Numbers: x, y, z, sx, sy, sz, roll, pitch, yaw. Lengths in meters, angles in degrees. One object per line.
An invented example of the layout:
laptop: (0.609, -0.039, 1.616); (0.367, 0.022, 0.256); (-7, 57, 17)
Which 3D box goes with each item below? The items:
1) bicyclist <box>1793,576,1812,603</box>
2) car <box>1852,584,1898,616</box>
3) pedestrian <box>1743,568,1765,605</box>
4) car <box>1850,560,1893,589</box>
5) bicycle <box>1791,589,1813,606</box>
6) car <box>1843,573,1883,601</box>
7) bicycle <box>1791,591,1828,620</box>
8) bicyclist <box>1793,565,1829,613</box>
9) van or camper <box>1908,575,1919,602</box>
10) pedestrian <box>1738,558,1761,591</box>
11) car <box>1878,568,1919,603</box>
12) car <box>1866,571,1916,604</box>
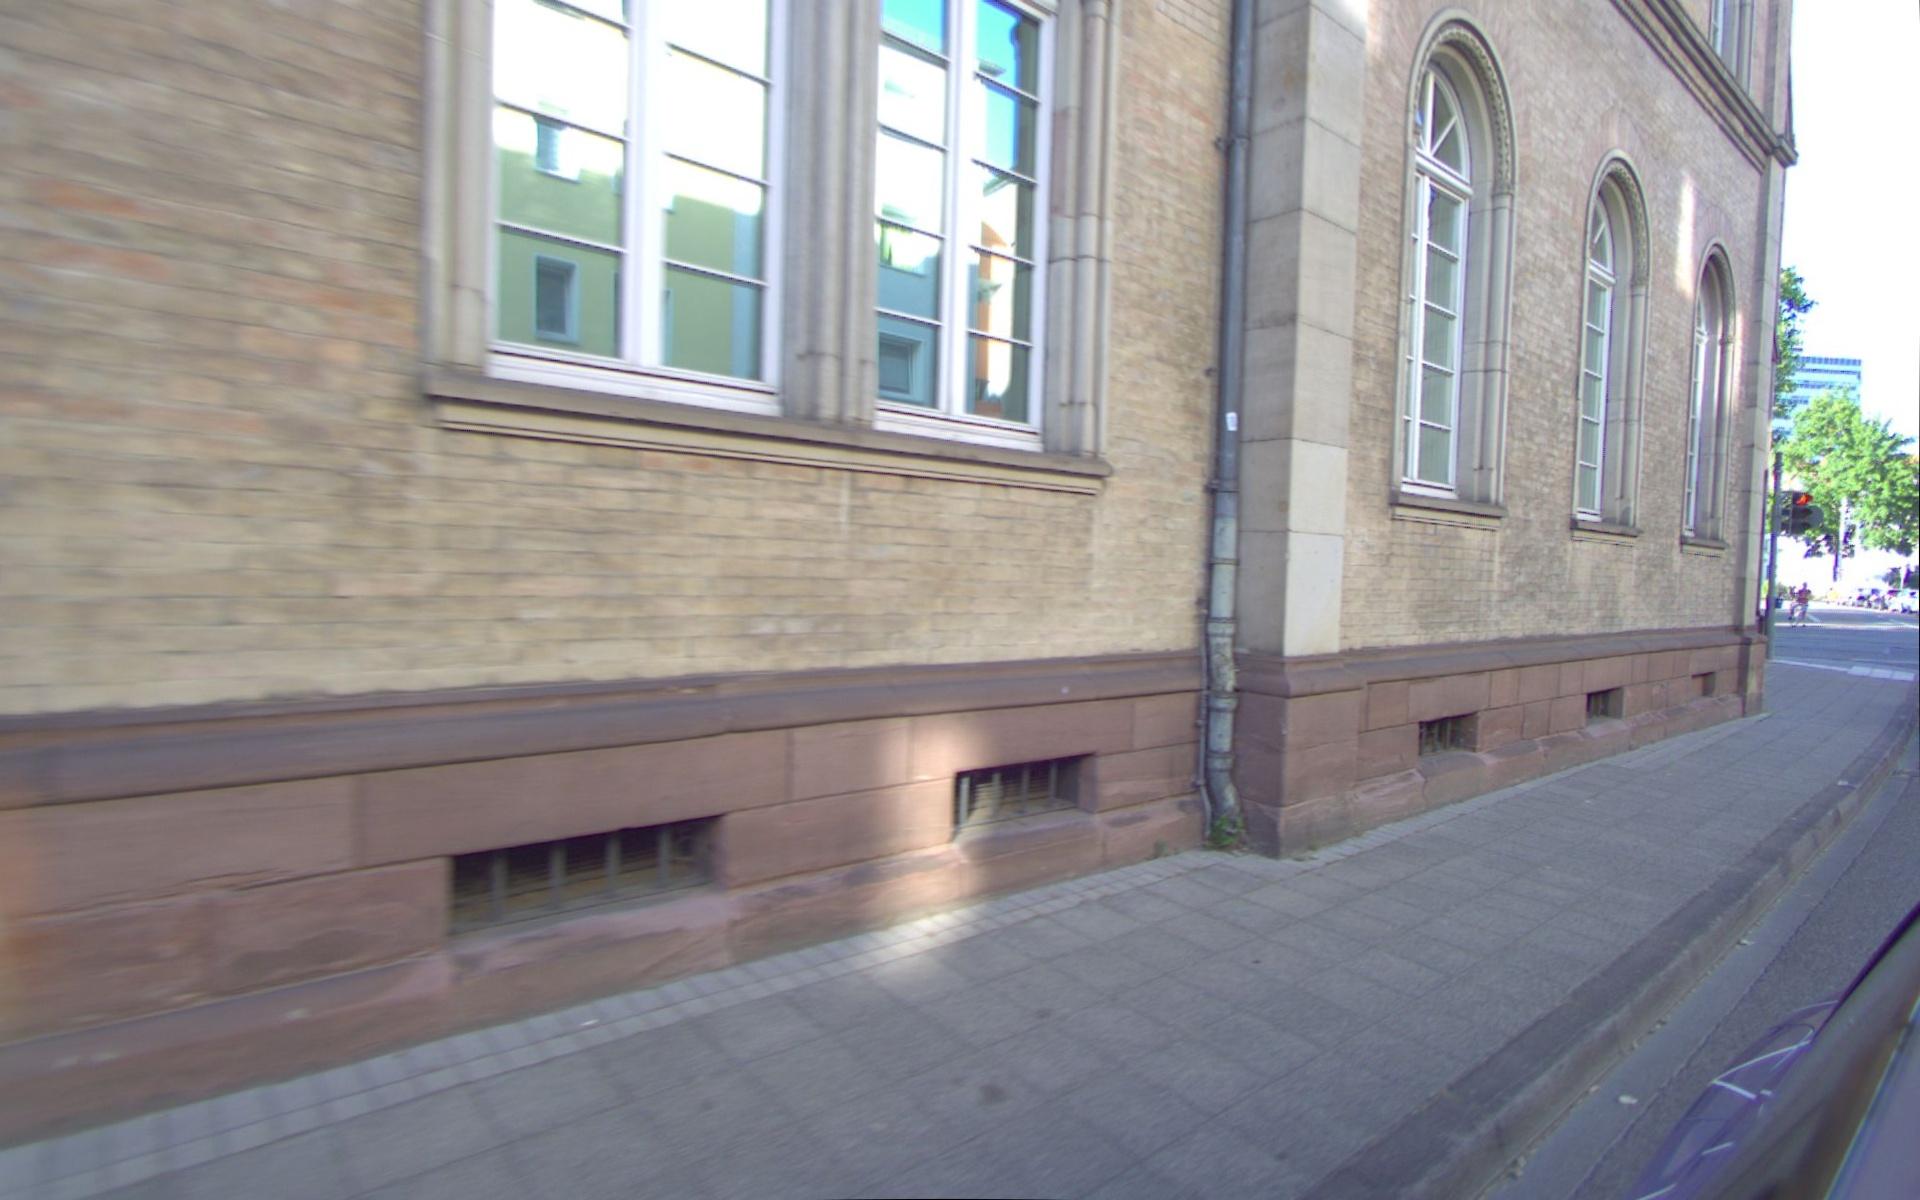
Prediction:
bicyclist: (51.151, -0.655, 61.469); (0.757, 1.612, 0.890); (3, 2, 35)
car: (64.252, -0.032, 71.080); (1.990, 2.038, 3.946); (3, 3, 38)
pedestrian: (41.417, -0.720, 52.790); (0.662, 1.877, 1.015); (3, 2, 29)
car: (68.069, -1.889, 75.618); (1.990, 2.038, 3.946); (3, 3, 38)
bicycle: (51.111, -0.153, 61.442); (0.757, 0.961, 3.019); (3, 3, 35)
car: (70.641, -0.982, 79.209); (1.990, 2.038, 3.945); (3, 1, 38)
bicycle: (33.357, 0.192, 39.755); (0.938, 1.051, 2.965); (3, 3, 37)
bicyclist: (33.290, -0.445, 39.594); (0.973, 1.830, 1.116); (3, 2, 39)
van or camper: (78.592, -0.817, 80.090); (4.691, 2.112, 1.980); (3, 2, 29)
pedestrian: (81.974, -2.626, 105.110); (1.442, 3.349, 1.397); (3, 2, 22)
car: (58.304, -0.879, 62.481); (1.990, 2.038, 3.946); (3, 3, 38)
car: (60.947, -0.856, 66.295); (1.990, 2.038, 3.946); (3, 3, 38)
